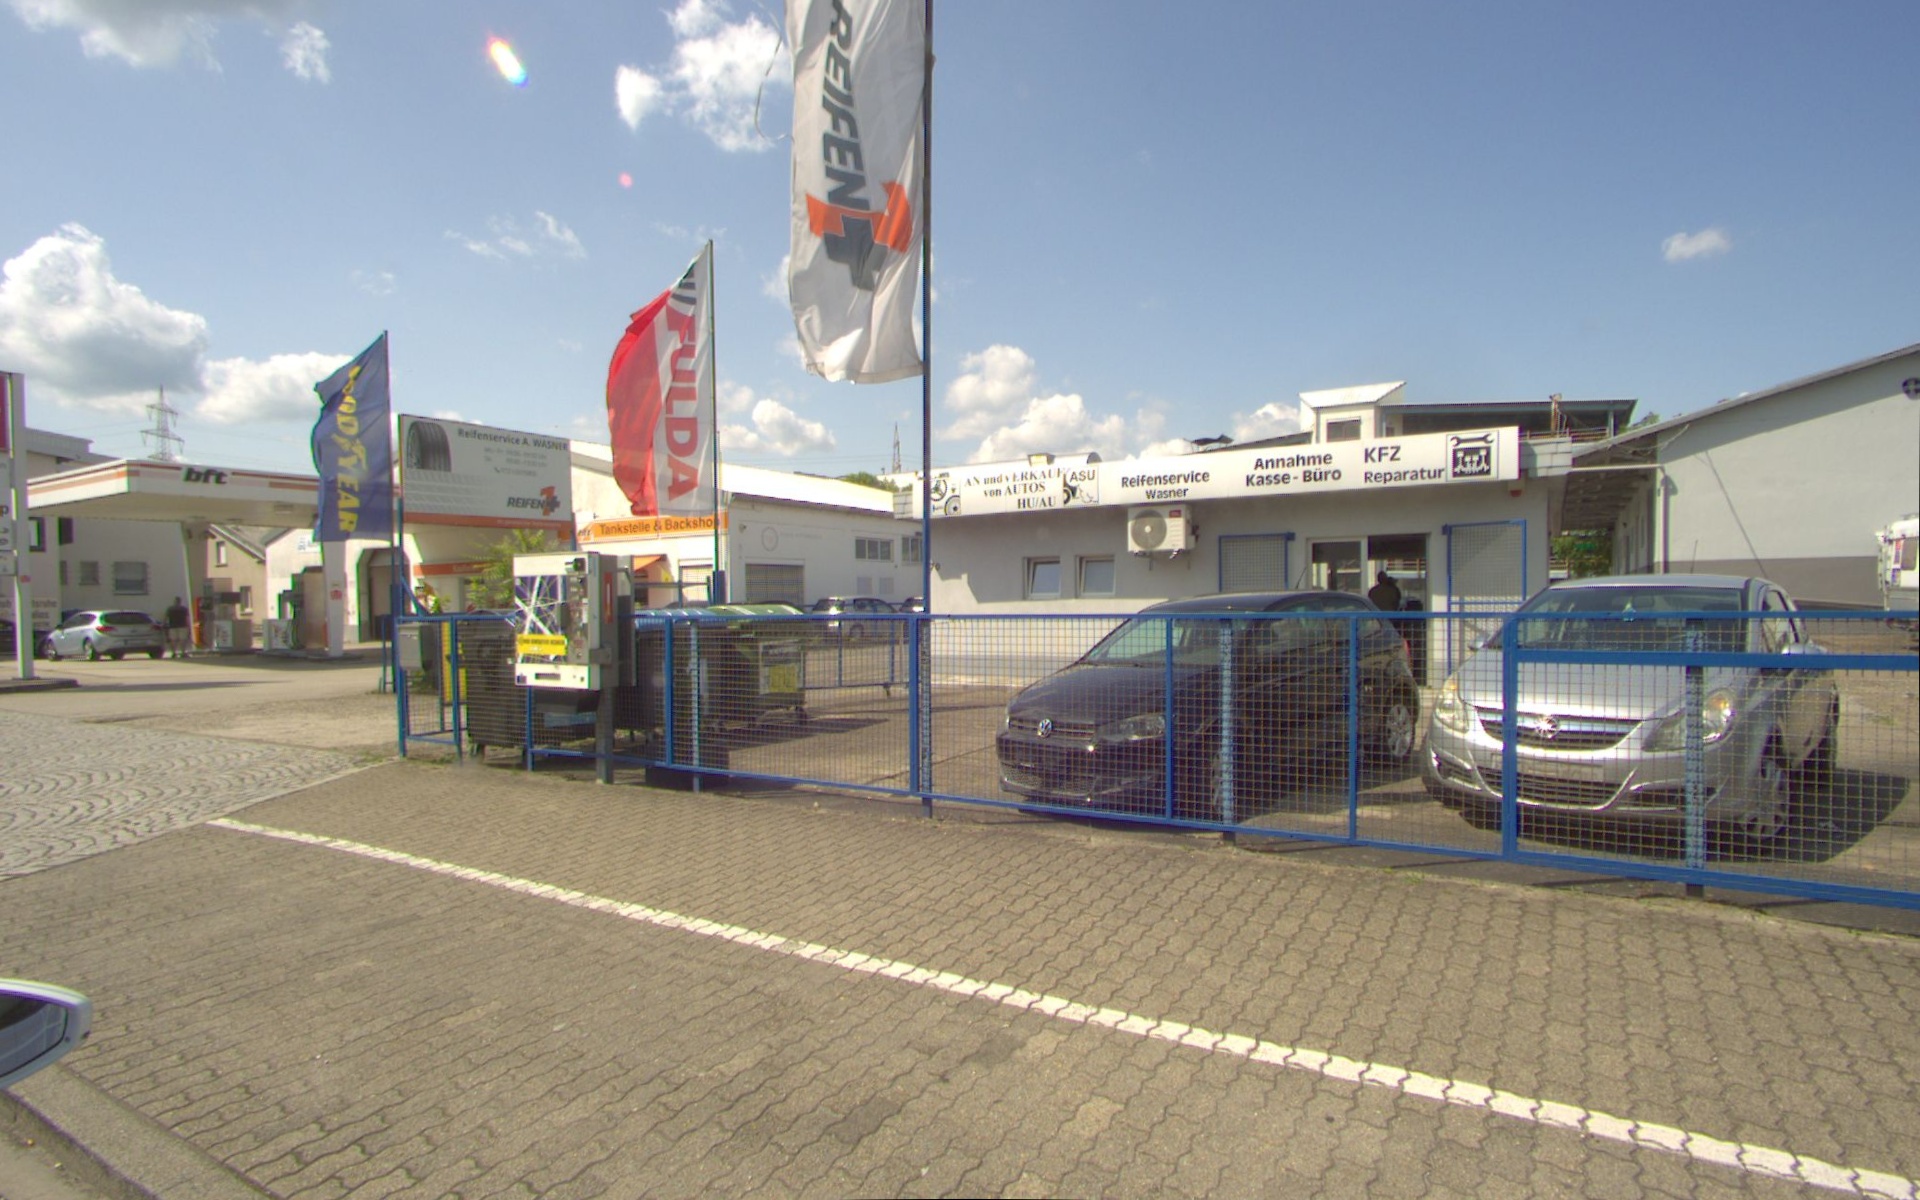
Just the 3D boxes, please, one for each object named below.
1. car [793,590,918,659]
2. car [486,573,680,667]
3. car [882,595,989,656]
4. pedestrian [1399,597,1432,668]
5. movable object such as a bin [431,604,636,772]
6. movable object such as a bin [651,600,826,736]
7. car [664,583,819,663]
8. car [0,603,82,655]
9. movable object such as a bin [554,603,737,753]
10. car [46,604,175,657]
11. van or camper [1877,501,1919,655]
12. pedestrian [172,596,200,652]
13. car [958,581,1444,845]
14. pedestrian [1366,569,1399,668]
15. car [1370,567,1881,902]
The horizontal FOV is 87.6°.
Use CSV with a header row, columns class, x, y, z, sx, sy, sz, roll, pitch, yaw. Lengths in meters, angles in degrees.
class,x,y,z,sx,sy,sz,roll,pitch,yaw
car,-3.266,0.729,31.987,1.971,2.040,3.979,0,0,32
car,-8.915,0.437,23.981,1.971,2.040,3.979,0,0,32
car,-0.806,0.864,35.876,1.971,2.040,3.979,0,0,32
pedestrian,7.978,0.562,17.525,0.480,1.229,0.499,0,1,30
movable object such as a bin,-4.133,0.785,9.744,1.434,1.473,1.224,0,1,31
movable object such as a bin,-2.607,0.744,11.899,1.433,1.473,1.427,0,1,31
car,-5.949,0.572,27.635,1.971,2.040,3.979,0,0,32
car,-31.841,0.963,32.999,1.663,1.646,4.093,0,0,34
movable object such as a bin,-3.373,0.776,10.784,1.434,1.473,1.224,0,1,31
car,-25.835,0.892,30.433,3.950,1.499,1.829,-1,1,31
van or camper,21.346,-0.459,19.320,4.983,3.002,2.276,0,1,31
pedestrian,-23.741,0.731,30.714,0.628,1.705,0.618,-1,1,-36
car,2.013,0.627,7.647,3.962,1.499,1.705,-1,1,-43
pedestrian,7.418,0.325,17.570,0.480,1.710,0.499,0,1,30
car,4.501,0.588,6.511,4.104,1.499,1.787,-1,0,-42
